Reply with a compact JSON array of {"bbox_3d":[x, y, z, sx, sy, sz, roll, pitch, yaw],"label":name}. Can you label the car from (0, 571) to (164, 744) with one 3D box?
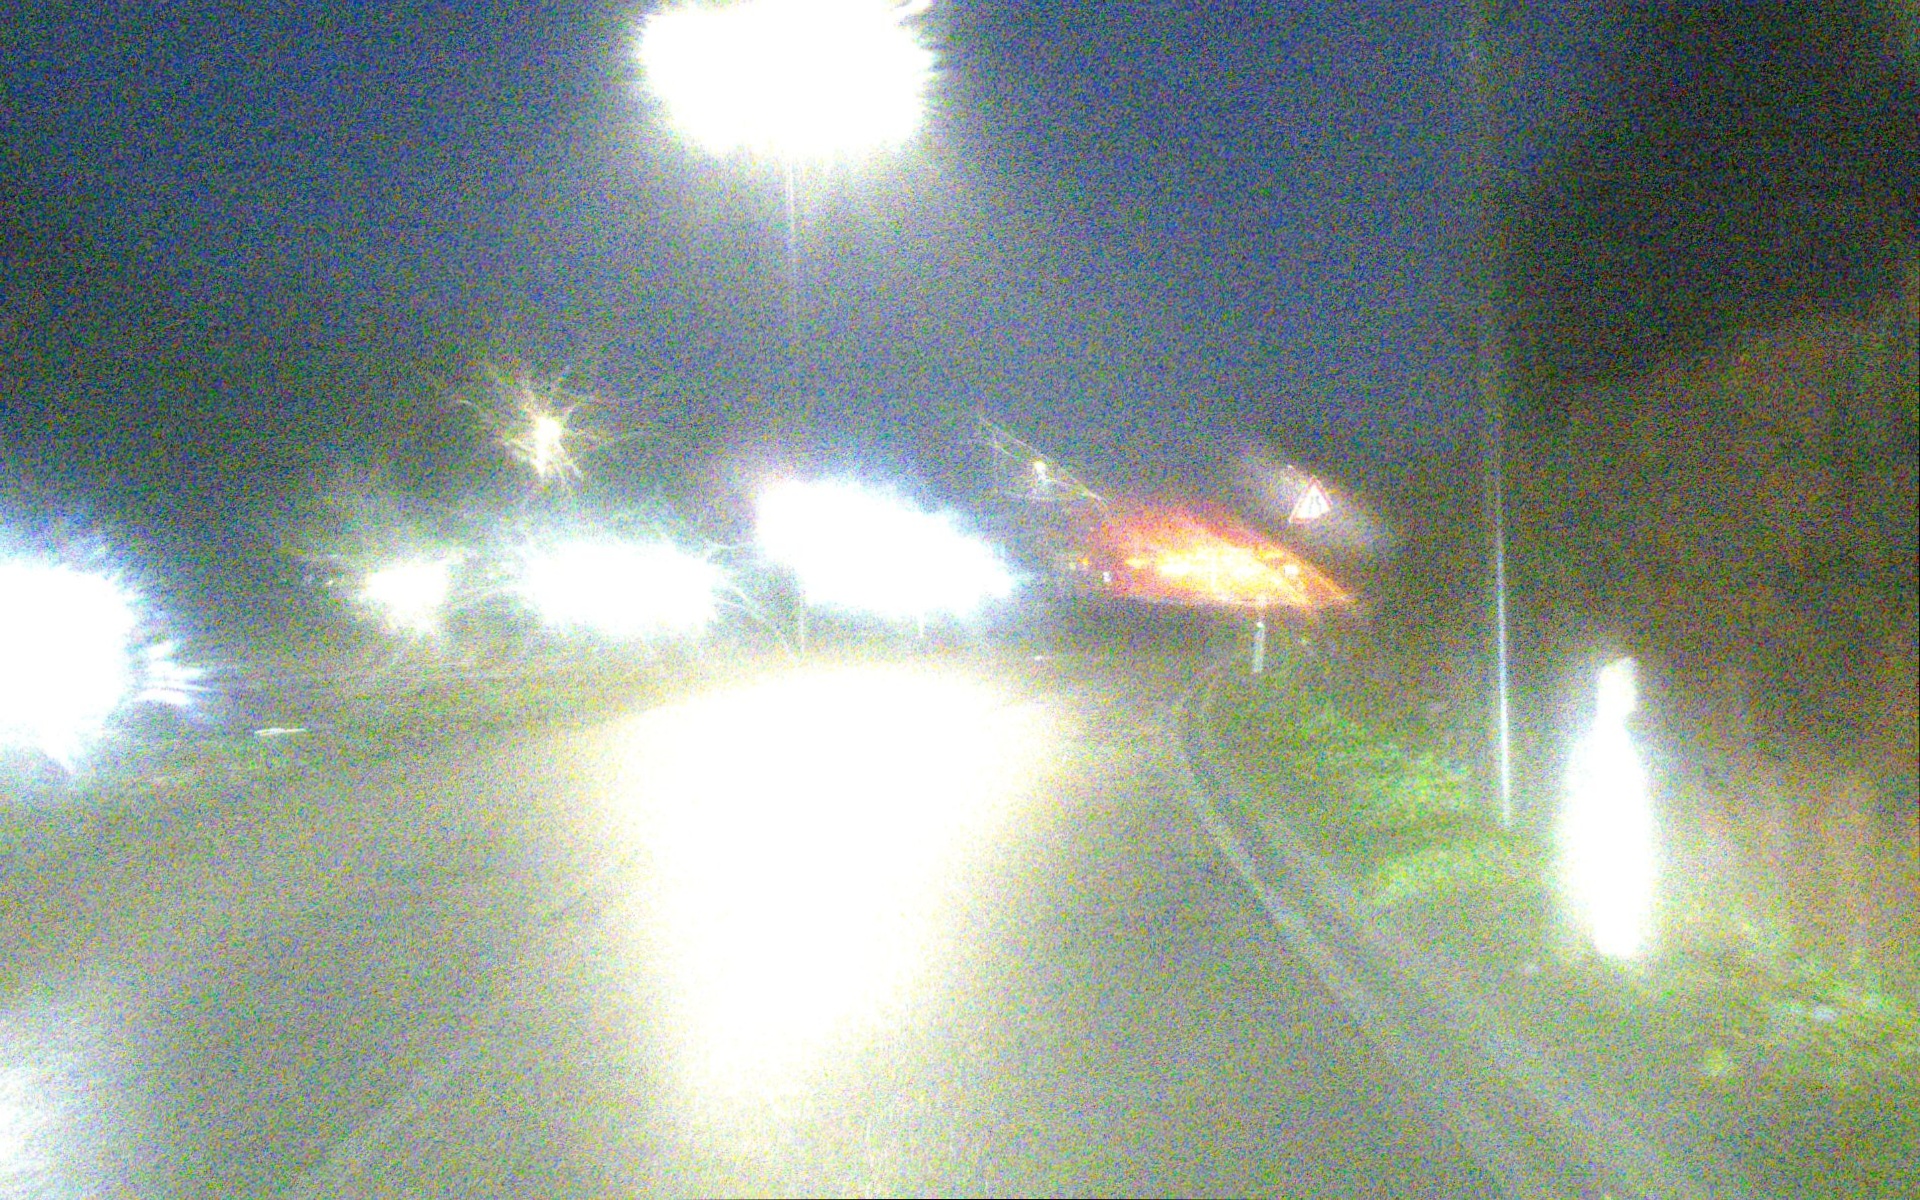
[{"bbox_3d":[-9.149,0.539,32.849,1.708,1.529,4.599,0,-1,4],"label":"car"}]
